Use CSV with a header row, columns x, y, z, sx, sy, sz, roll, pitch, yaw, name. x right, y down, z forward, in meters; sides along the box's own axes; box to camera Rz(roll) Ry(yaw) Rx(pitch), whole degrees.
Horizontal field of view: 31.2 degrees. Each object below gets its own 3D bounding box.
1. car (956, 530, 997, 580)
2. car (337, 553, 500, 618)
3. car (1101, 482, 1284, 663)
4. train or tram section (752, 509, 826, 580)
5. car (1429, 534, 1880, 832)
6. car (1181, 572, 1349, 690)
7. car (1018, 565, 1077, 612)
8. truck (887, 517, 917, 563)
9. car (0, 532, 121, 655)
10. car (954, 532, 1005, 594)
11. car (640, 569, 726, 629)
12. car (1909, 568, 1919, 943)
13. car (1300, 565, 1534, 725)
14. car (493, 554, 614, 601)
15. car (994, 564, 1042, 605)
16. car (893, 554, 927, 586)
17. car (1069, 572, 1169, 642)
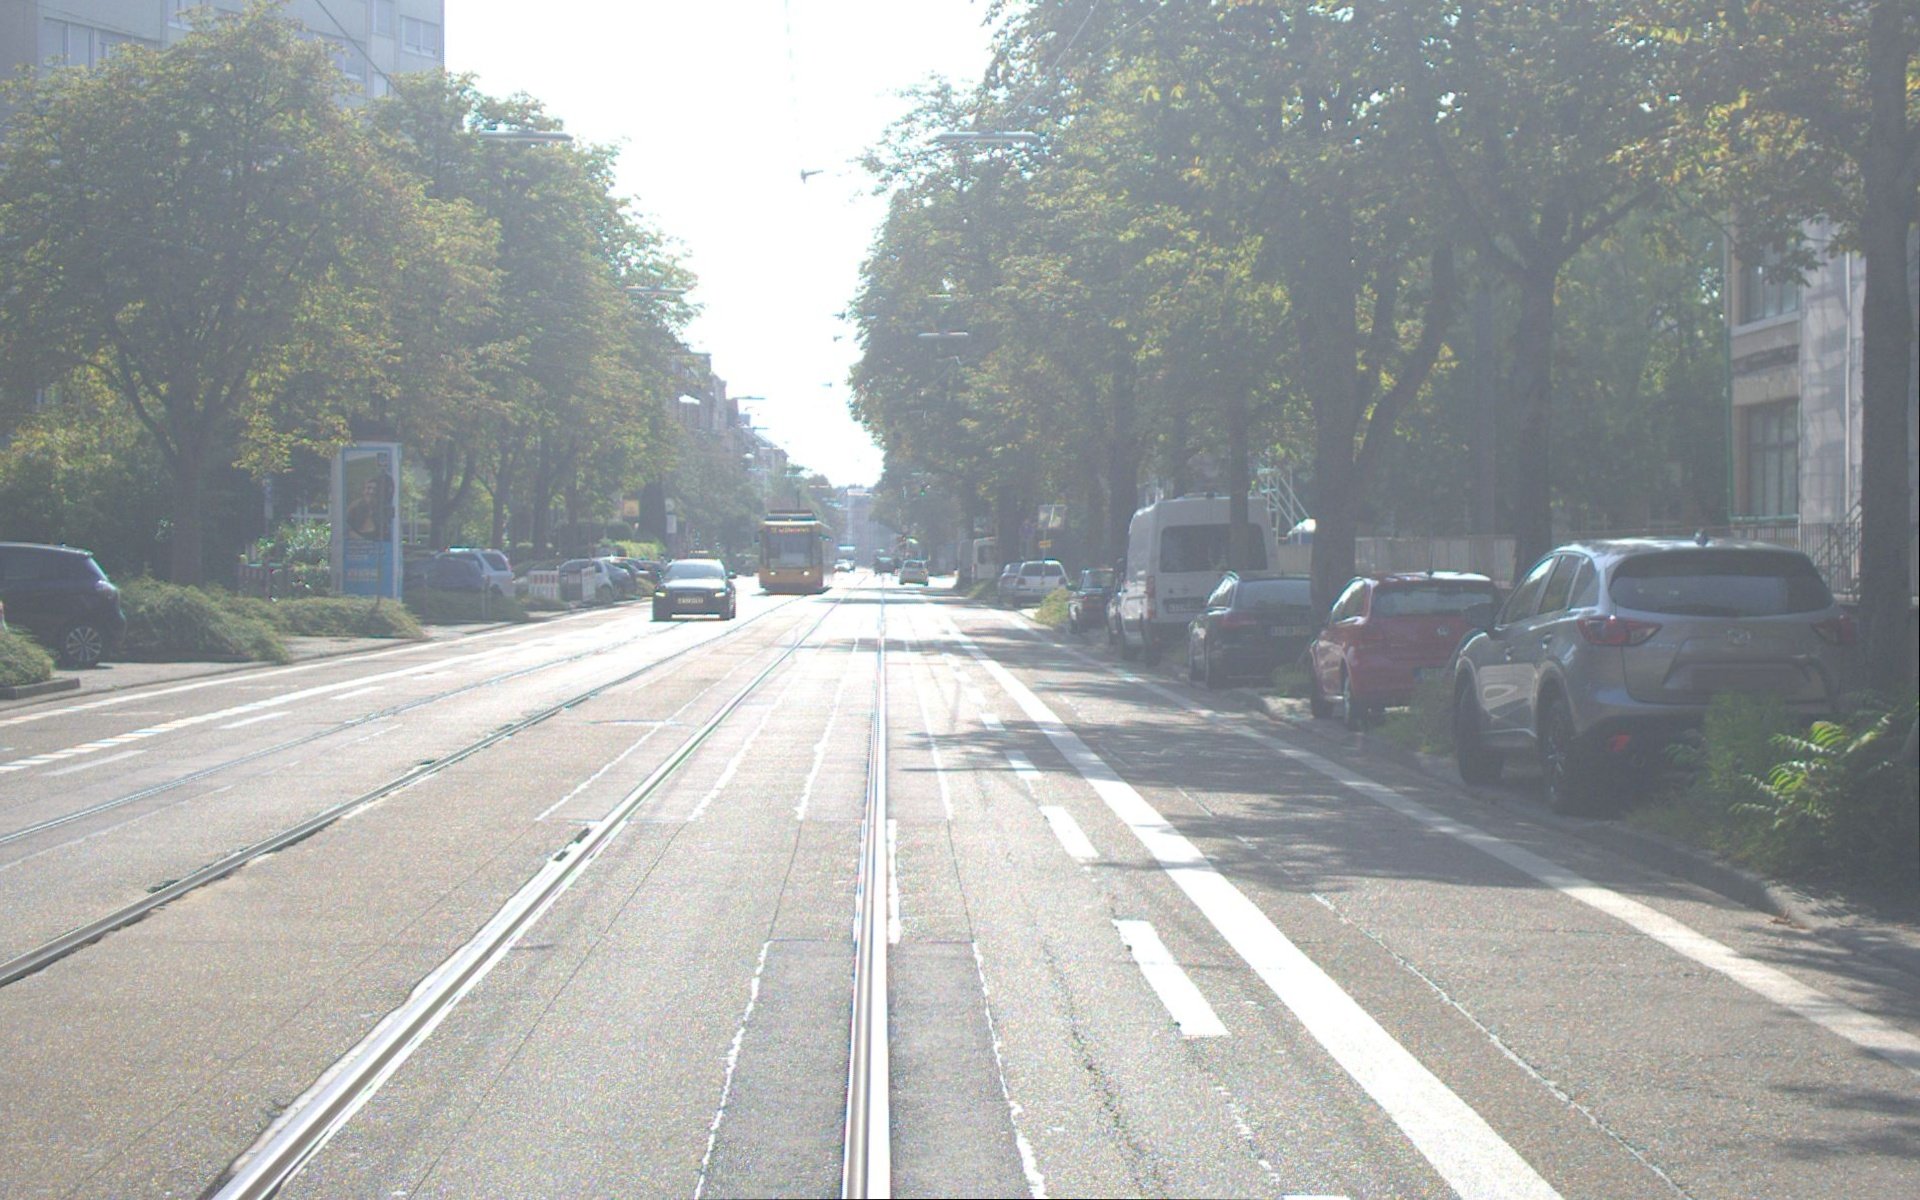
x,y,z,sx,sy,sz,roll,pitch,yaw,name
0.818,-2.279,174.194,2.004,2.467,4.477,0,1,0,car
-13.733,-0.380,87.291,1.743,1.616,3.786,1,1,45,car
3.527,-0.435,53.162,2.082,2.544,5.502,-3,1,-3,car
-7.227,-2.320,147.024,2.729,2.884,15.456,0,0,-1,train or tram section
4.300,0.436,21.982,1.753,1.685,4.397,1,1,-3,car
3.742,0.346,42.901,1.616,1.369,4.827,0,1,0,car
2.683,-0.355,105.560,1.689,1.413,3.634,0,1,0,car
-3.991,-4.117,236.118,1.860,3.120,4.353,0,1,-3,truck
-12.641,-0.118,43.526,3.633,1.510,1.622,1,1,-26,car
0.808,-1.569,147.298,2.004,2.482,4.477,3,0,0,car
-6.559,-0.047,81.780,1.828,1.371,4.513,0,1,-2,car
4.609,0.661,11.858,1.576,1.479,3.738,1,1,-1,car
4.247,0.380,32.479,1.616,1.409,4.000,0,1,-1,car
-12.847,-0.710,108.767,1.569,1.438,3.755,1,1,39,car
2.004,-0.551,119.341,1.595,1.413,3.634,0,1,0,car
-2.944,-1.772,203.236,1.993,1.831,4.000,0,1,0,car
3.307,0.128,72.214,1.753,1.373,4.719,-1,1,-1,car
